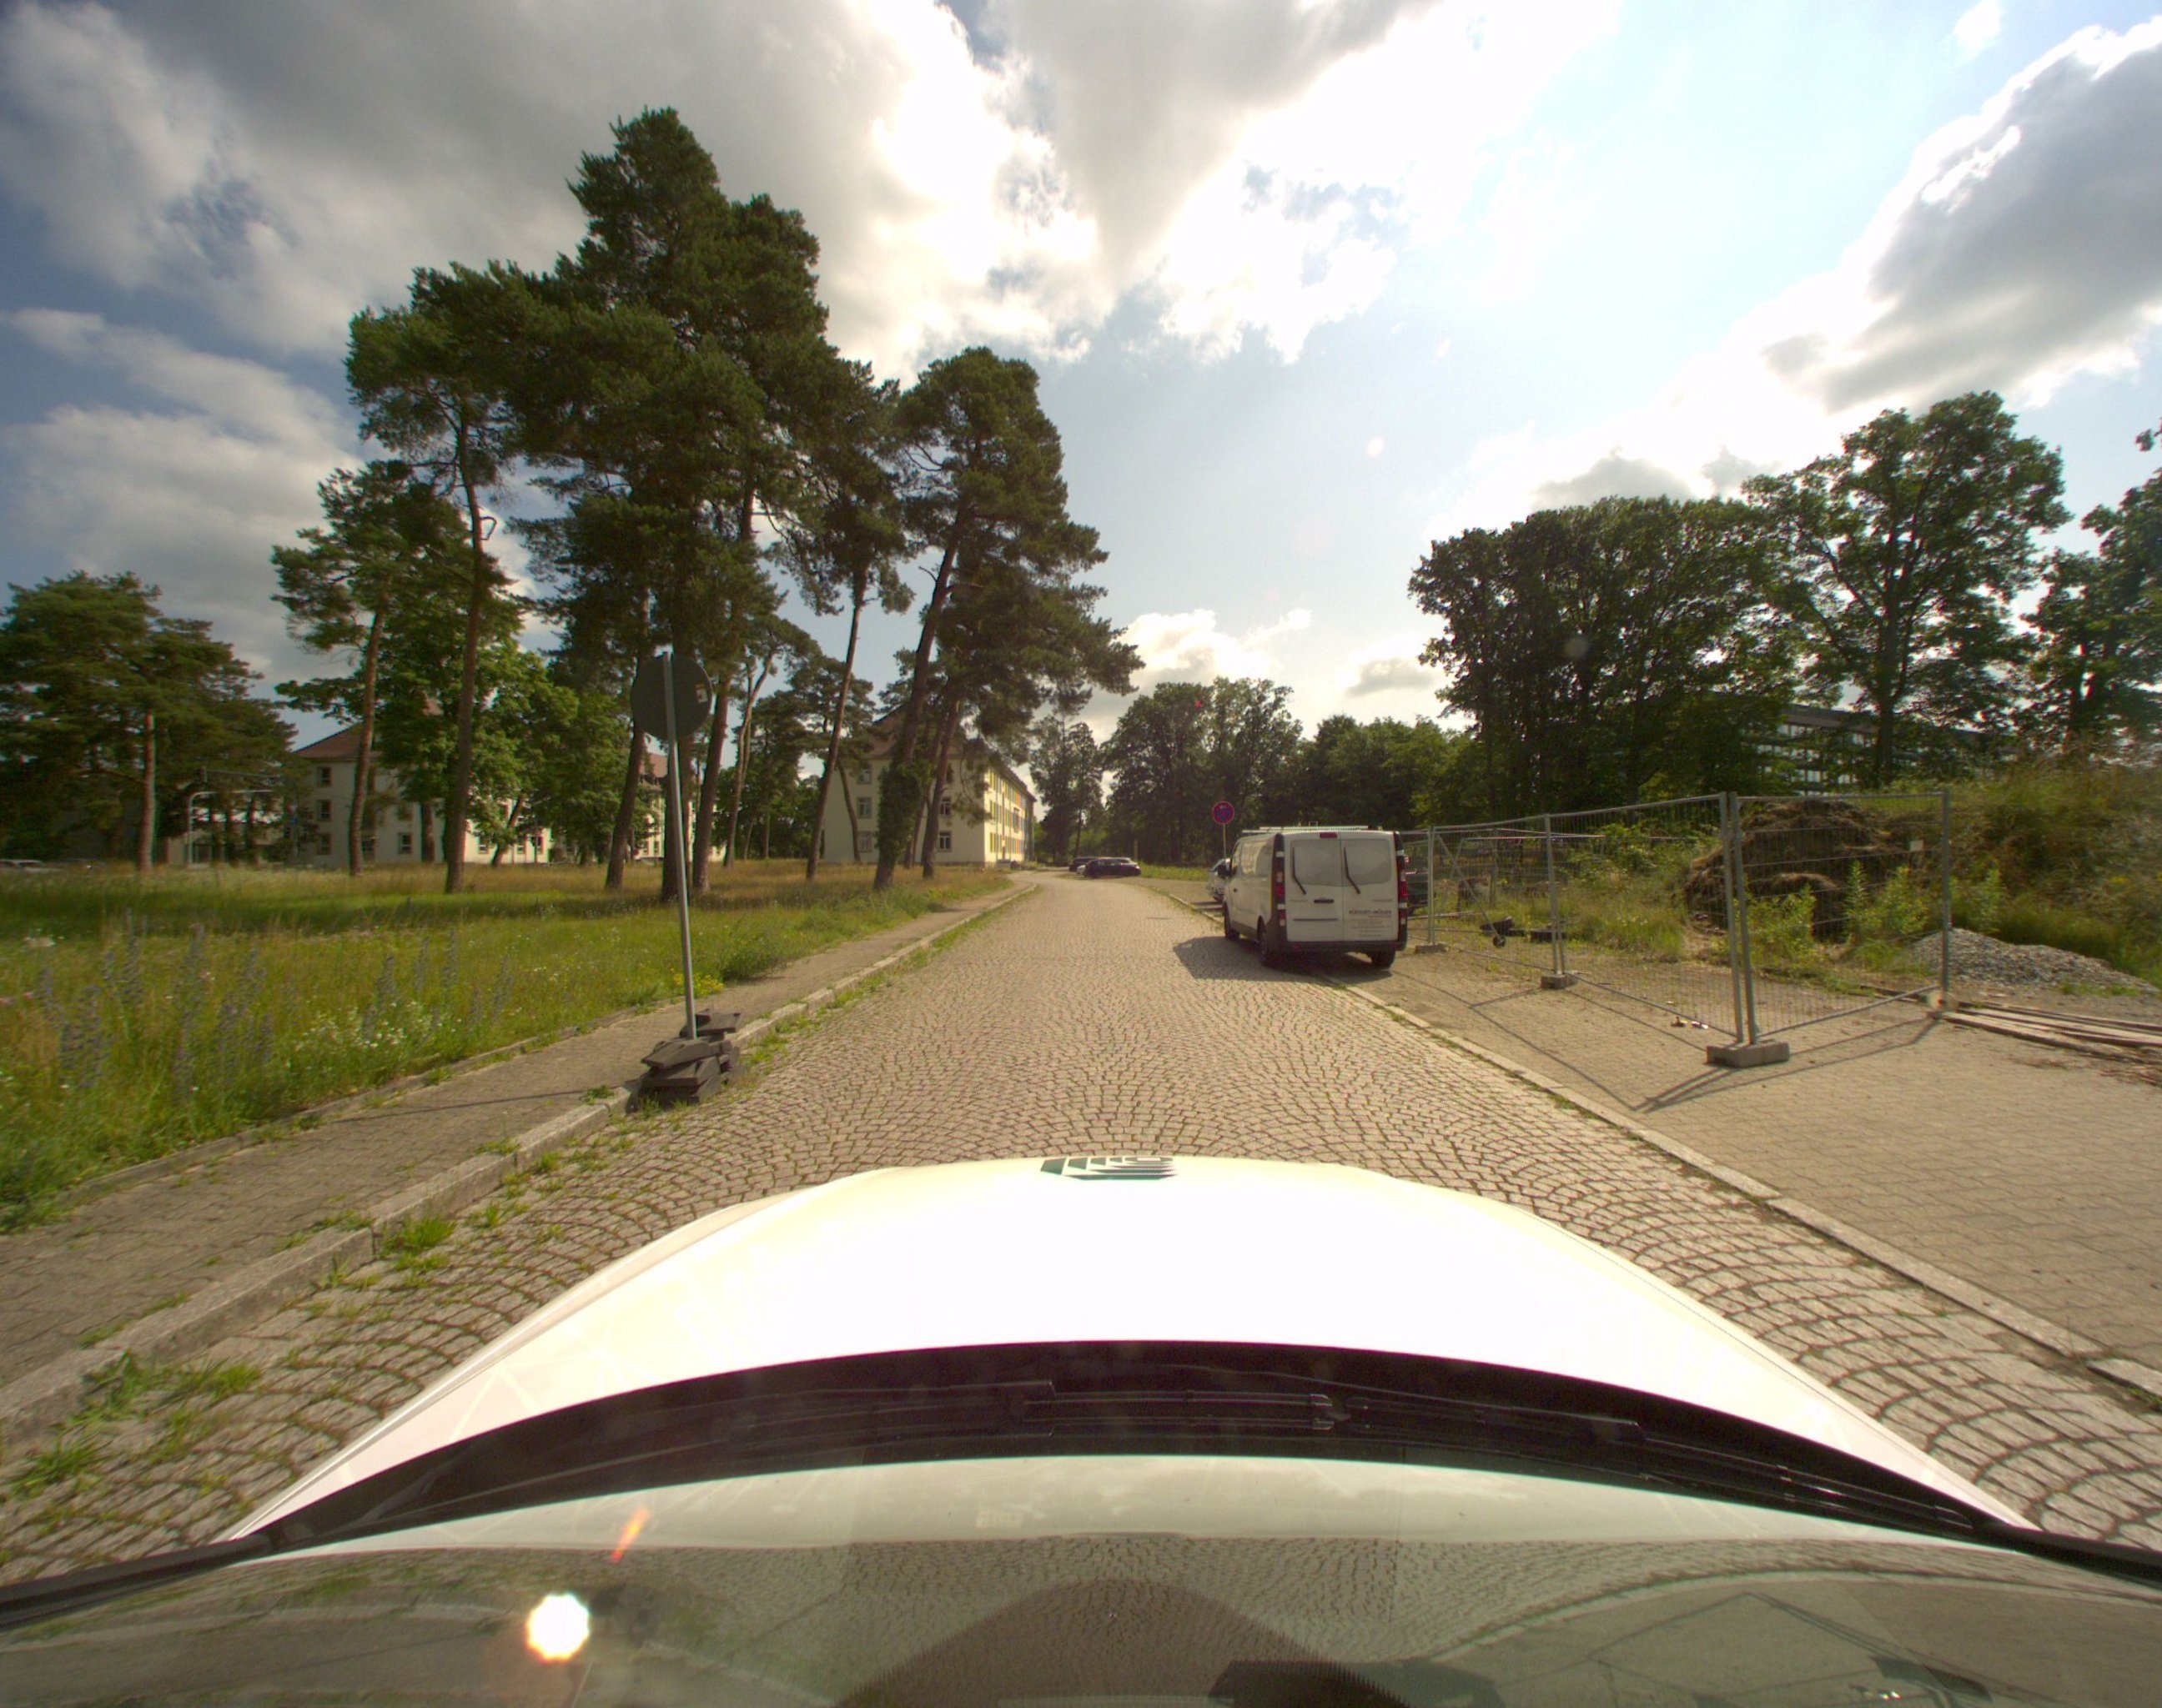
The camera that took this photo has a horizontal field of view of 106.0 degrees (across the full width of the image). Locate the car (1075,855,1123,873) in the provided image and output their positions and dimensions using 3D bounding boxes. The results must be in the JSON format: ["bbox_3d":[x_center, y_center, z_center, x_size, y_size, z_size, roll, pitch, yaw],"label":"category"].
[{"bbox_3d":[1.646,0.936,76.690,4.386,1.484,1.765,-2,-1,-1],"label":"car"}]

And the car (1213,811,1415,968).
[{"bbox_3d":[3.546,0.495,13.656,1.907,2.053,5.681,-1,0,2],"label":"car"}]

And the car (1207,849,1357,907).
[{"bbox_3d":[5.905,0.693,24.178,3.977,1.507,1.745,-2,-1,-2],"label":"car"}]

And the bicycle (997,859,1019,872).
[{"bbox_3d":[-7.727,1.220,85.741,2.210,1.260,0.624,-1,-1,6],"label":"bicycle"}]

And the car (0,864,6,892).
[{"bbox_3d":[-51.220,1.123,36.257,4.054,1.309,1.900,-1,-1,-1],"label":"car"}]

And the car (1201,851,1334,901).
[{"bbox_3d":[6.176,0.720,27.242,4.032,1.464,1.703,-2,-1,-2],"label":"car"}]

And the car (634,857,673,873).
[{"bbox_3d":[-54.941,1.397,104.634,4.044,1.991,1.713,-1,-1,1],"label":"car"}]

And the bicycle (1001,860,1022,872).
[{"bbox_3d":[-7.524,1.262,88.428,2.213,1.260,0.623,-1,-1,2],"label":"bicycle"}]

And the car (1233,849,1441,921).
[{"bbox_3d":[6.075,0.711,19.615,4.445,1.475,1.743,-2,-1,-4],"label":"car"}]

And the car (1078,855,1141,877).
[{"bbox_3d":[2.215,0.924,64.029,4.848,1.472,1.873,-2,0,-1],"label":"car"}]

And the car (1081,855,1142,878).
[{"bbox_3d":[2.254,0.924,60.815,4.321,1.500,1.825,-2,0,-8],"label":"car"}]

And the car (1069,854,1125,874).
[{"bbox_3d":[1.370,0.863,71.377,4.839,1.552,1.879,-2,-1,-1],"label":"car"}]
